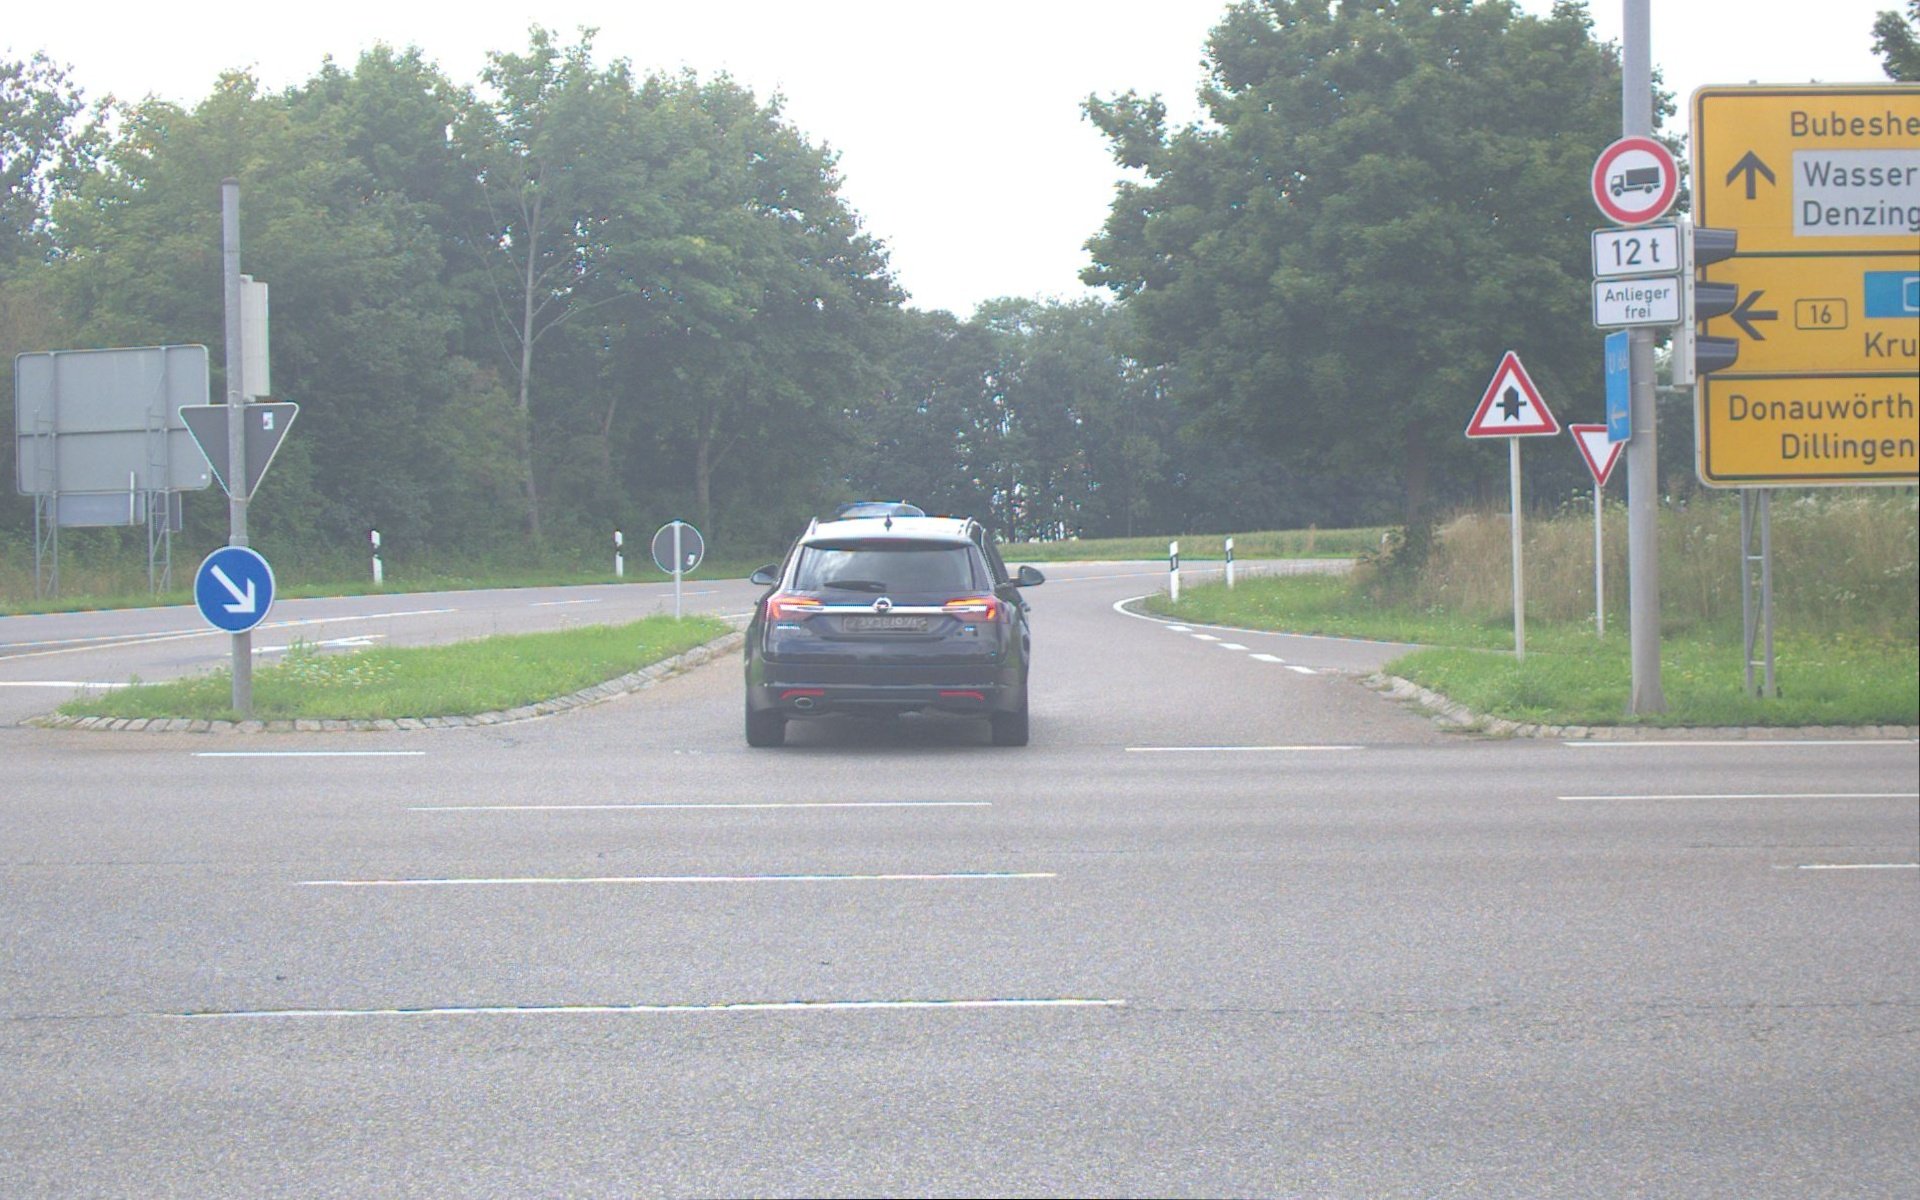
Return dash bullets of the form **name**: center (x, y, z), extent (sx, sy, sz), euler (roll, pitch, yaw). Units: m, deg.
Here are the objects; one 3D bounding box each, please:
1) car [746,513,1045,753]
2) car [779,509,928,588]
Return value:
- **car**: center (-0.361, 0.150, 23.024), extent (1.807, 1.446, 4.273), euler (0, 1, 1)
- **car**: center (-2.157, -1.084, 71.284), extent (1.994, 1.565, 4.754), euler (0, 1, 12)
